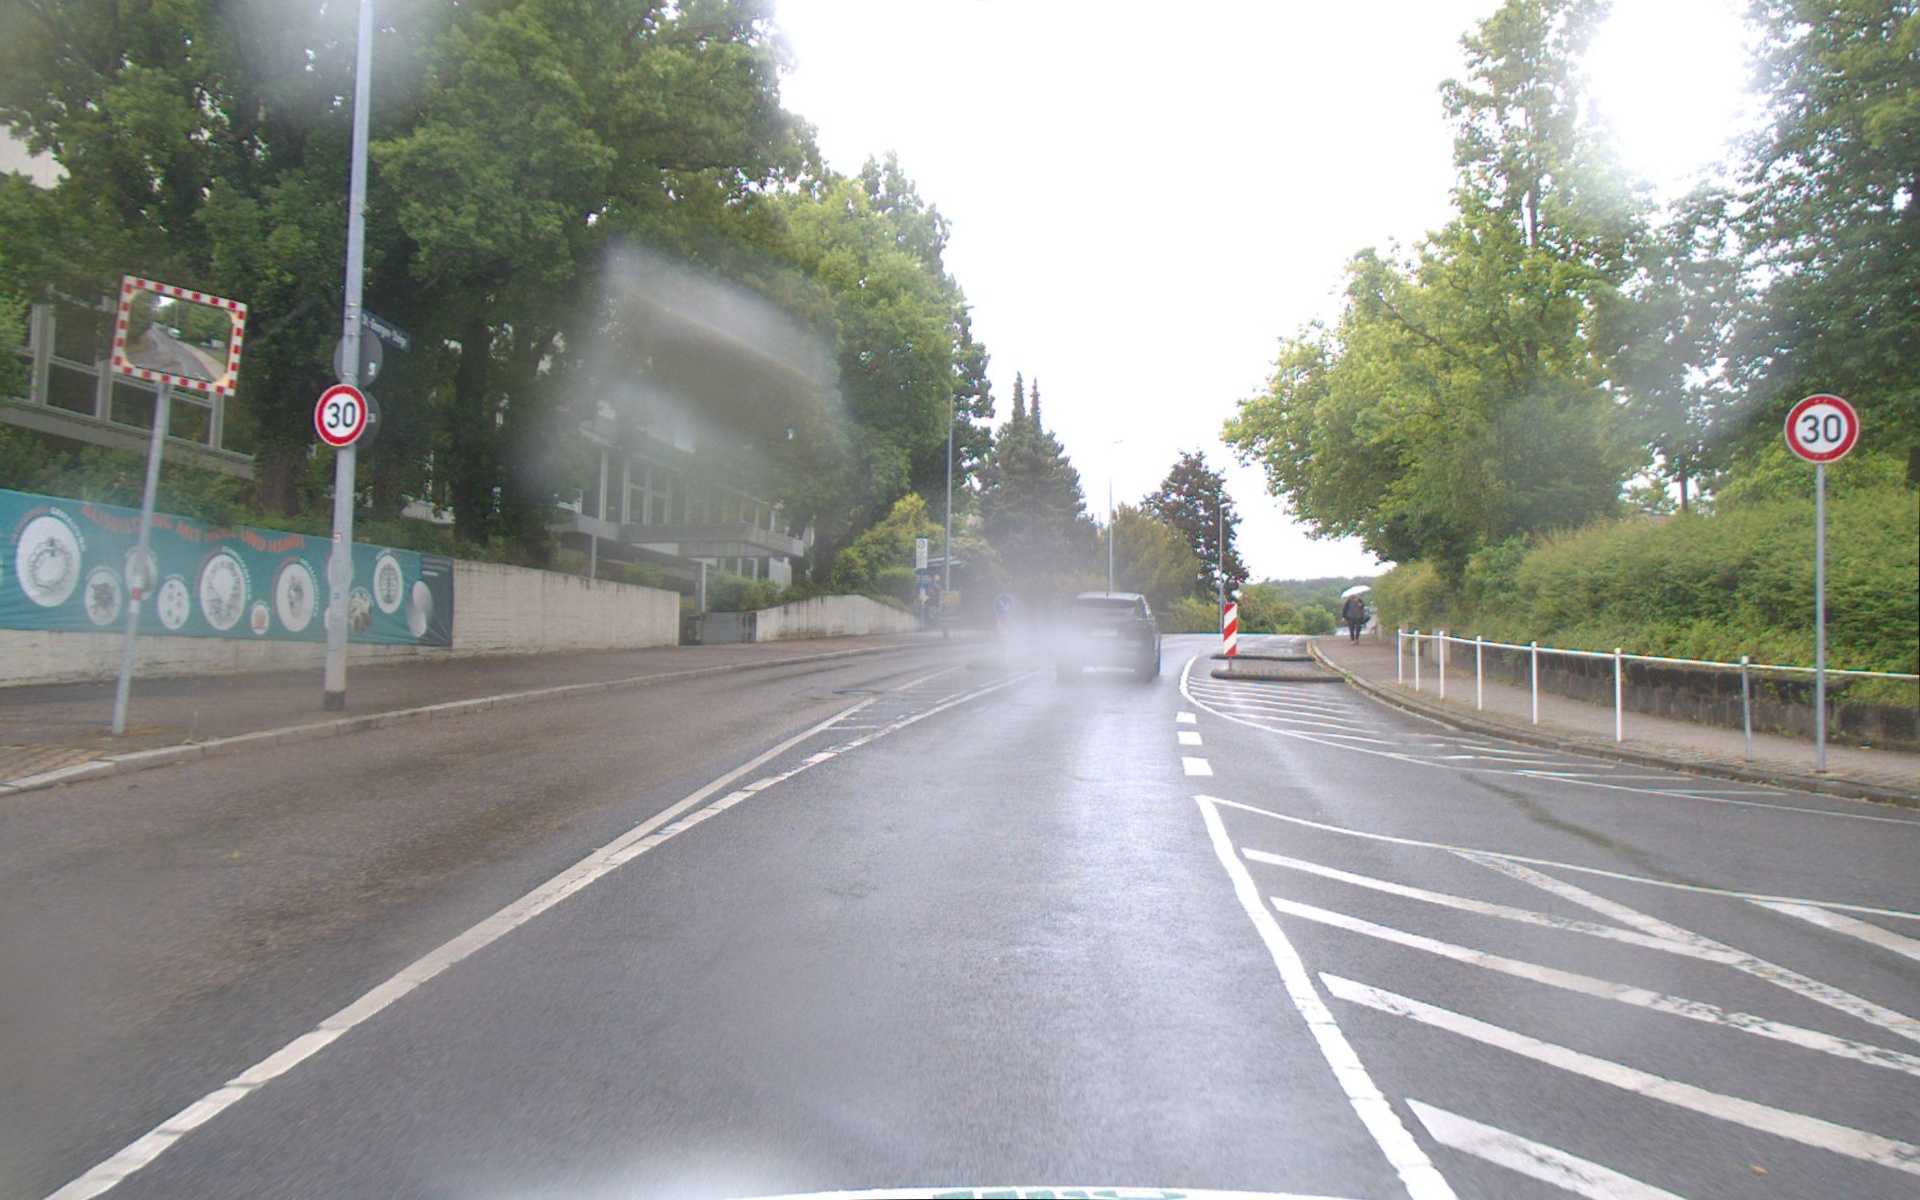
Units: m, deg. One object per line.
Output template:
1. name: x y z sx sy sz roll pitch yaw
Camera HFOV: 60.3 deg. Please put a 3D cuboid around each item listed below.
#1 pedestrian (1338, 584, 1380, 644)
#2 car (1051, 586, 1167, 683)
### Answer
1. pedestrian: 11.948 0.425 49.559 1.061 1.752 1.167 -1 -1 6
2. car: 2.935 0.618 31.847 1.887 1.641 4.003 3 0 9
